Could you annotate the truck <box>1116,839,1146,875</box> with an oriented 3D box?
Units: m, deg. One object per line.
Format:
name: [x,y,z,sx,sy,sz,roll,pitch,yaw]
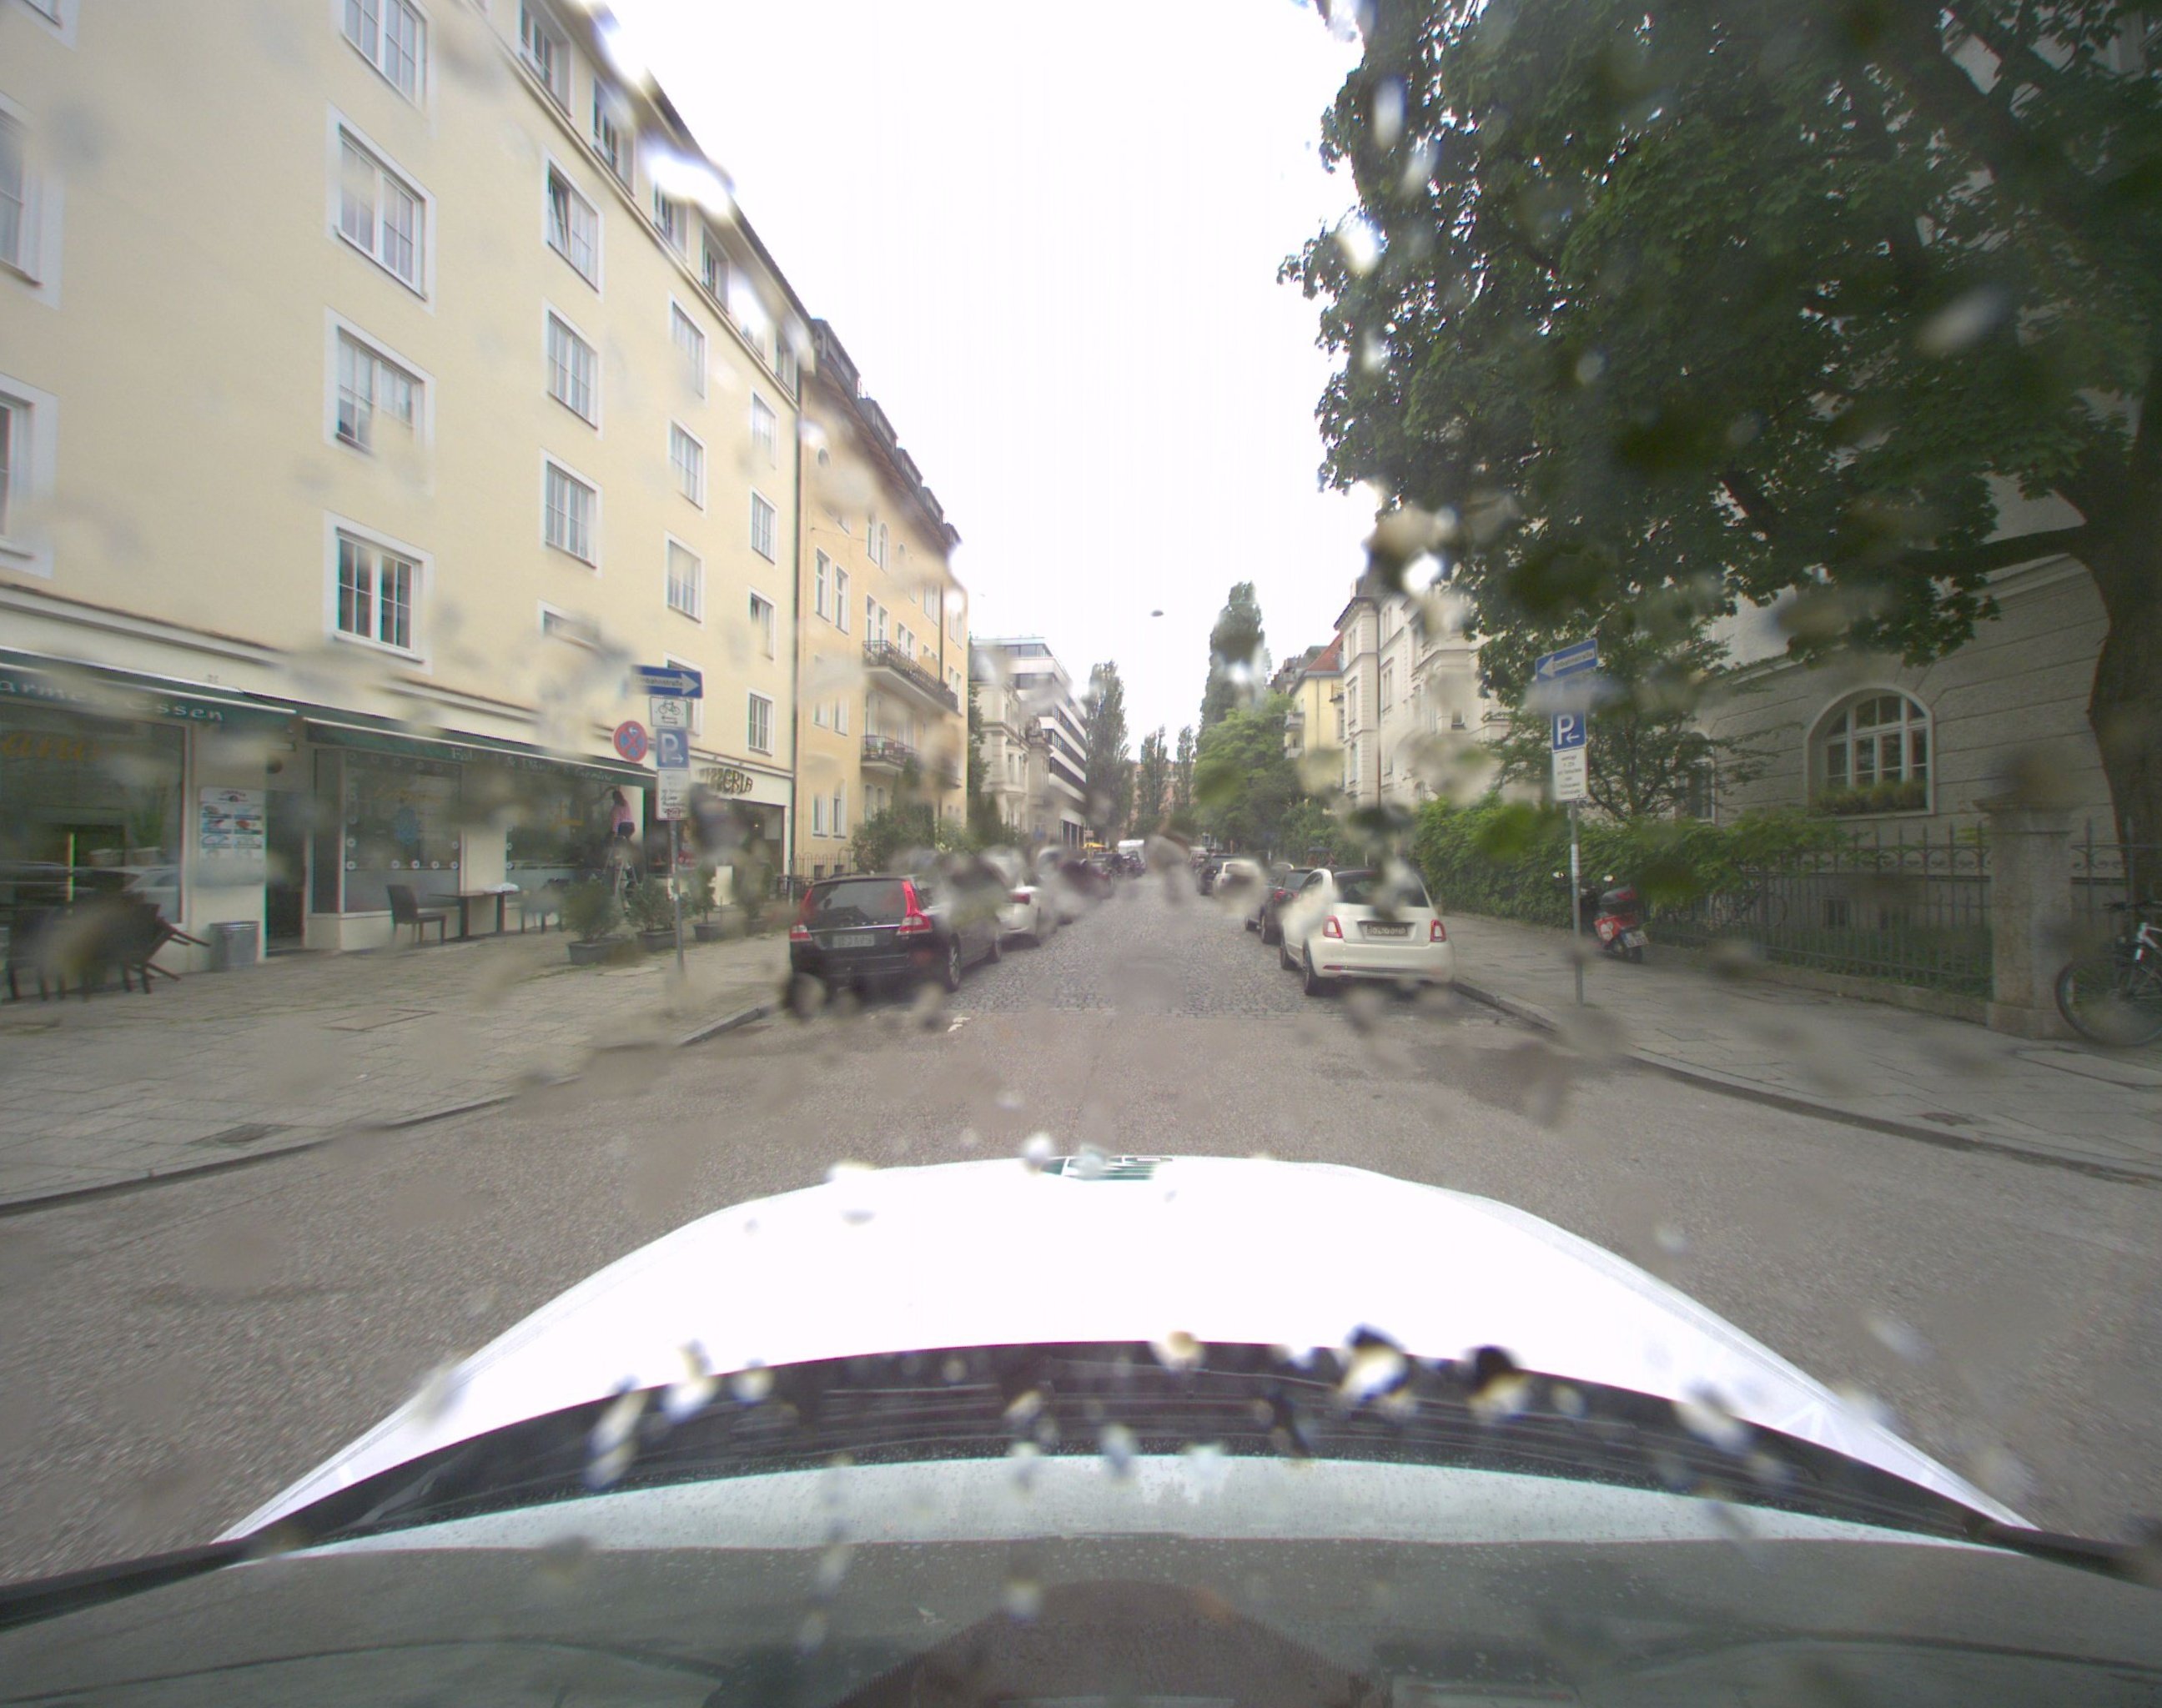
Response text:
truck: [4.622,0.239,74.488,2.496,3.032,6.393,-2,0,5]

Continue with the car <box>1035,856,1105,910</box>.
car: [-0.265,0.925,27.365,1.764,1.647,4.399,0,-1,7]

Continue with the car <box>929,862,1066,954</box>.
car: [-1.480,0.951,16.201,1.765,1.536,4.548,-2,-1,6]

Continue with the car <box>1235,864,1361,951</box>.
car: [4.249,0.970,16.605,1.640,1.422,4.638,3,0,5]

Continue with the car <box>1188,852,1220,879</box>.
car: [8.535,0.802,56.807,1.953,1.759,4.961,0,-1,5]

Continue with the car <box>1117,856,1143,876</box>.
car: [3.830,0.928,63.164,1.931,1.459,4.063,0,-1,5]

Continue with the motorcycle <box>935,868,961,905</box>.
motorcycle: [-4.478,1.072,27.544,0.488,1.194,1.582,-1,0,5]

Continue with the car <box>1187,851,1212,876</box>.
car: [10.101,0.783,69.565,1.791,1.949,4.867,3,0,5]

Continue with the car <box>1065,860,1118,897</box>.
car: [0.511,0.969,33.548,1.765,1.429,4.398,0,-1,6]

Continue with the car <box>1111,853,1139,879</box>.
car: [3.155,0.840,57.926,1.765,1.718,4.397,0,-1,5]

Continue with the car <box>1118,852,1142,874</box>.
car: [4.169,0.743,68.426,1.885,1.751,4.173,-1,0,4]

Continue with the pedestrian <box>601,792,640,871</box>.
pedestrian: [-9.750,-0.475,17.249,0.474,1.642,0.498,0,-1,10]

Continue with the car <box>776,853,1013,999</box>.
car: [-2.261,0.810,11.325,1.843,1.586,4.754,0,-1,4]

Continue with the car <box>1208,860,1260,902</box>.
car: [5.780,0.982,31.094,1.622,1.469,3.665,2,0,6]

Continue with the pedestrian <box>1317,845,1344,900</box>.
pedestrian: [8.455,0.620,27.572,0.629,1.808,0.656,1,-1,-17]

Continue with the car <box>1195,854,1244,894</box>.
car: [6.112,0.853,36.392,1.865,1.673,5.500,0,-1,7]

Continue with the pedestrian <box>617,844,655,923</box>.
pedestrian: [-9.740,0.640,17.844,0.459,1.690,0.575,0,-1,6]

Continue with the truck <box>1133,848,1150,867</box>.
truck: [7.695,0.490,103.105,1.983,2.347,4.074,0,-1,6]

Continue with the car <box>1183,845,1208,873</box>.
car: [10.574,0.435,75.238,1.886,2.426,5.619,4,1,5]

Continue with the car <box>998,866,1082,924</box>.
car: [-0.958,0.995,21.469,1.766,1.359,4.394,0,-1,3]

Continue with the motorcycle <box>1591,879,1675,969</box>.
motorcycle: [7.335,0.895,10.874,0.360,1.090,1.407,0,-1,9]

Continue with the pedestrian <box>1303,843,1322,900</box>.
pedestrian: [7.733,0.582,27.201,0.571,1.850,0.684,-1,-1,13]

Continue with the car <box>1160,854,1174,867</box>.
car: [13.112,0.952,123.763,1.985,1.936,4.008,0,-1,7]

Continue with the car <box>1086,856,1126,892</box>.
car: [1.250,0.956,39.808,1.571,1.590,4.063,-2,-1,6]

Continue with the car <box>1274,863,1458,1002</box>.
car: [3.482,0.858,10.596,1.494,1.471,3.803,0,-1,7]

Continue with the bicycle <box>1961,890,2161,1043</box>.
bicycle: [8.255,0.861,6.376,1.824,1.124,0.565,-1,0,16]

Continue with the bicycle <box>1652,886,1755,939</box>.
bicycle: [11.133,1.007,14.663,0.488,0.812,2.280,0,-1,10]

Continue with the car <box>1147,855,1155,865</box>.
car: [11.073,0.977,128.949,1.270,1.541,3.124,0,-1,6]

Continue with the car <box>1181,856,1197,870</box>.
car: [11.661,1.003,87.827,1.592,1.486,3.484,0,-1,5]

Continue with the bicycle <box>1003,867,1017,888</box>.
bicycle: [-3.419,1.129,39.283,0.350,1.003,1.576,0,-1,7]

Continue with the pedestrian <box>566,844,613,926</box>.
pedestrian: [-10.025,0.622,16.631,0.519,1.642,0.630,0,-1,5]

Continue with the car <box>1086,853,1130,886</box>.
car: [1.539,0.805,44.703,1.972,1.737,4.731,0,0,7]
